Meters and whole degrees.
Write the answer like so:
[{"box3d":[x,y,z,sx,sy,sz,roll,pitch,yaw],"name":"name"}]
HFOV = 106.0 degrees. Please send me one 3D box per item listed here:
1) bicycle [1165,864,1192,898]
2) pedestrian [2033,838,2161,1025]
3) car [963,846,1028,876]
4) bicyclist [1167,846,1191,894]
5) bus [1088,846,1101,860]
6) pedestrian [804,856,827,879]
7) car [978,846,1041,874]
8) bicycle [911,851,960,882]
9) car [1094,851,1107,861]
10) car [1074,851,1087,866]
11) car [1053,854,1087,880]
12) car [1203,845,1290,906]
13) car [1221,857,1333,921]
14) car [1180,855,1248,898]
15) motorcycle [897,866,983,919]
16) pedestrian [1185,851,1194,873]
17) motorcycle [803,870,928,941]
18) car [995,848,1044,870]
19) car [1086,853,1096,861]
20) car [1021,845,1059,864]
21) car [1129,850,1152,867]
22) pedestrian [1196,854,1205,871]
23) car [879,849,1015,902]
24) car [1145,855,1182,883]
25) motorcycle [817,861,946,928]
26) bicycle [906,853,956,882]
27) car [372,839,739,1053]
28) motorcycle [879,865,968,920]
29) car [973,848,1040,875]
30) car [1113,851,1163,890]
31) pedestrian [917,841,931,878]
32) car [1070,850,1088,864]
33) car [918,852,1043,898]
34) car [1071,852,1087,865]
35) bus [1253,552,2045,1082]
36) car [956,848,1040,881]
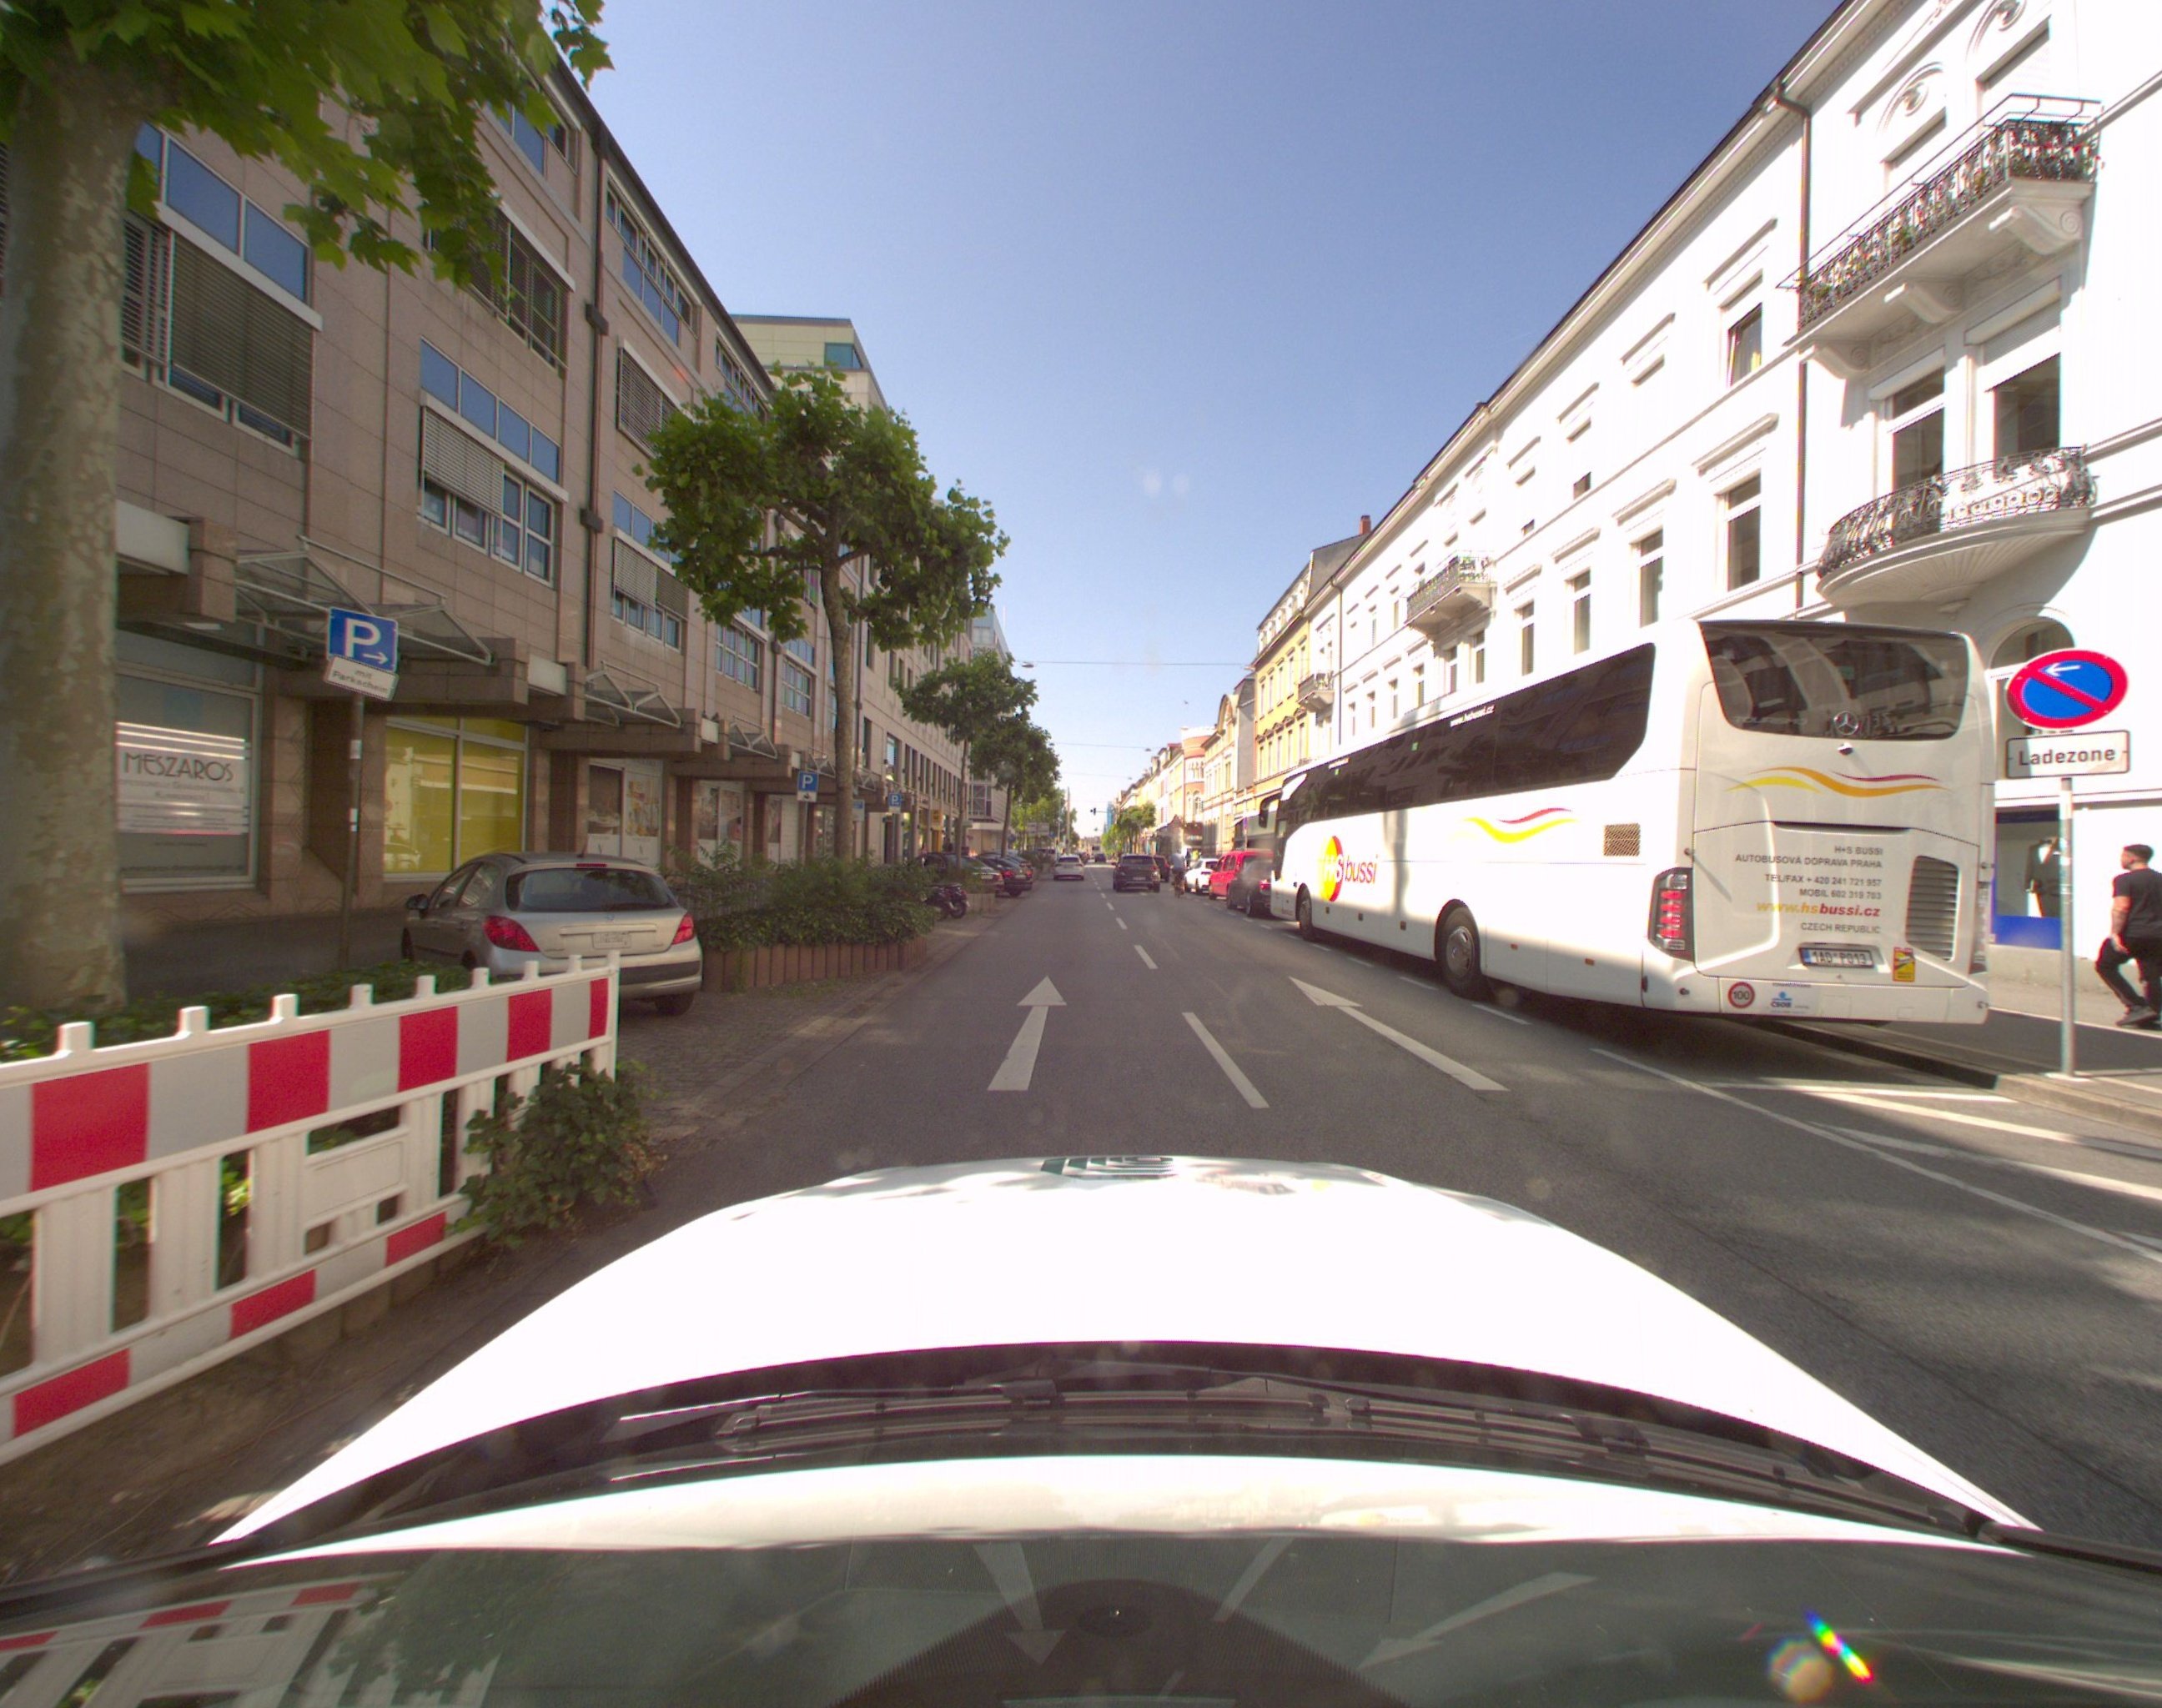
[{"box3d":[3.555,0.951,29.759,0.662,1.120,2.243,3,1,0],"name":"bicycle"},{"box3d":[10.040,0.715,7.909,0.618,1.719,0.836,1,0,2],"name":"pedestrian"},{"box3d":[-5.403,0.443,51.888,3.980,1.500,1.715,5,0,-5],"name":"car"},{"box3d":[3.560,0.573,29.747,0.692,1.673,0.916,3,1,1],"name":"bicyclist"},{"box3d":[3.477,-0.236,214.060,2.764,3.605,8.963,1,0,-3],"name":"bus"},{"box3d":[-10.361,0.519,31.842,0.564,0.809,0.774,6,0,0],"name":"pedestrian"},{"box3d":[-5.118,0.439,58.283,3.952,1.568,1.709,6,0,25],"name":"car"},{"box3d":[-6.595,0.563,36.943,2.063,1.288,0.366,4,-1,-8],"name":"bicycle"},{"box3d":[2.896,0.316,120.421,1.857,1.441,3.998,1,0,-1],"name":"car"},{"box3d":[-0.118,0.694,122.662,1.857,2.030,3.998,1,-2,-1],"name":"car"},{"box3d":[-0.668,0.725,47.448,1.858,1.441,3.997,0,0,-2],"name":"car"},{"box3d":[5.595,0.683,28.084,1.823,1.863,4.348,3,0,-4],"name":"car"},{"box3d":[5.248,0.868,22.541,1.853,1.470,5.226,3,0,1],"name":"car"},{"box3d":[5.378,0.871,33.538,1.809,1.466,4.576,3,1,-3],"name":"car"},{"box3d":[-3.412,0.906,19.740,1.894,1.170,0.764,2,0,20],"name":"motorcycle"},{"box3d":[9.047,0.646,68.019,0.649,1.809,0.730,1,0,3],"name":"pedestrian"},{"box3d":[-4.026,0.921,15.174,2.152,1.170,0.926,2,0,27],"name":"motorcycle"},{"box3d":[-5.158,0.410,68.603,3.977,1.500,1.716,5,0,-2],"name":"car"},{"box3d":[1.850,0.566,158.426,1.857,1.441,3.998,0,-2,-1],"name":"car"},{"box3d":[-5.362,0.063,105.472,4.665,2.003,1.953,4,-1,40],"name":"car"},{"box3d":[5.158,0.380,70.876,1.815,1.385,4.001,1,1,1],"name":"car"},{"box3d":[12.420,0.875,84.668,0.790,1.720,0.728,0,0,-5],"name":"pedestrian"},{"box3d":[-4.617,0.686,27.577,4.697,1.533,2.002,2,0,42],"name":"car"},{"box3d":[4.723,0.845,47.039,1.816,1.409,3.187,3,1,0],"name":"car"},{"box3d":[-4.286,0.834,17.582,2.325,1.268,1.300,2,0,20],"name":"motorcycle"},{"box3d":[-6.536,0.603,35.502,2.063,1.130,0.463,4,-1,-8],"name":"bicycle"},{"box3d":[-5.289,0.658,7.992,4.007,1.494,1.947,2,1,41],"name":"car"},{"box3d":[-3.672,0.883,19.032,1.894,1.170,0.732,2,0,20],"name":"motorcycle"},{"box3d":[-4.996,0.494,54.756,3.957,1.490,1.791,5,0,17],"name":"car"},{"box3d":[2.316,0.647,33.923,1.827,1.527,3.999,1,0,0],"name":"car"},{"box3d":[-7.162,0.255,37.106,0.565,1.657,0.635,1,0,-7],"name":"pedestrian"},{"box3d":[-0.209,0.292,81.799,1.738,1.441,3.999,1,0,-1],"name":"car"},{"box3d":[-3.821,0.752,30.530,4.736,1.422,1.895,3,1,40],"name":"car"},{"box3d":[-0.235,0.496,93.754,1.738,1.441,3.999,1,0,-1],"name":"car"},{"box3d":[5.504,-0.248,12.173,2.873,3.742,12.420,3,0,-1],"name":"bus"},{"box3d":[-4.647,0.574,45.417,4.300,1.513,1.844,4,0,30],"name":"car"}]
